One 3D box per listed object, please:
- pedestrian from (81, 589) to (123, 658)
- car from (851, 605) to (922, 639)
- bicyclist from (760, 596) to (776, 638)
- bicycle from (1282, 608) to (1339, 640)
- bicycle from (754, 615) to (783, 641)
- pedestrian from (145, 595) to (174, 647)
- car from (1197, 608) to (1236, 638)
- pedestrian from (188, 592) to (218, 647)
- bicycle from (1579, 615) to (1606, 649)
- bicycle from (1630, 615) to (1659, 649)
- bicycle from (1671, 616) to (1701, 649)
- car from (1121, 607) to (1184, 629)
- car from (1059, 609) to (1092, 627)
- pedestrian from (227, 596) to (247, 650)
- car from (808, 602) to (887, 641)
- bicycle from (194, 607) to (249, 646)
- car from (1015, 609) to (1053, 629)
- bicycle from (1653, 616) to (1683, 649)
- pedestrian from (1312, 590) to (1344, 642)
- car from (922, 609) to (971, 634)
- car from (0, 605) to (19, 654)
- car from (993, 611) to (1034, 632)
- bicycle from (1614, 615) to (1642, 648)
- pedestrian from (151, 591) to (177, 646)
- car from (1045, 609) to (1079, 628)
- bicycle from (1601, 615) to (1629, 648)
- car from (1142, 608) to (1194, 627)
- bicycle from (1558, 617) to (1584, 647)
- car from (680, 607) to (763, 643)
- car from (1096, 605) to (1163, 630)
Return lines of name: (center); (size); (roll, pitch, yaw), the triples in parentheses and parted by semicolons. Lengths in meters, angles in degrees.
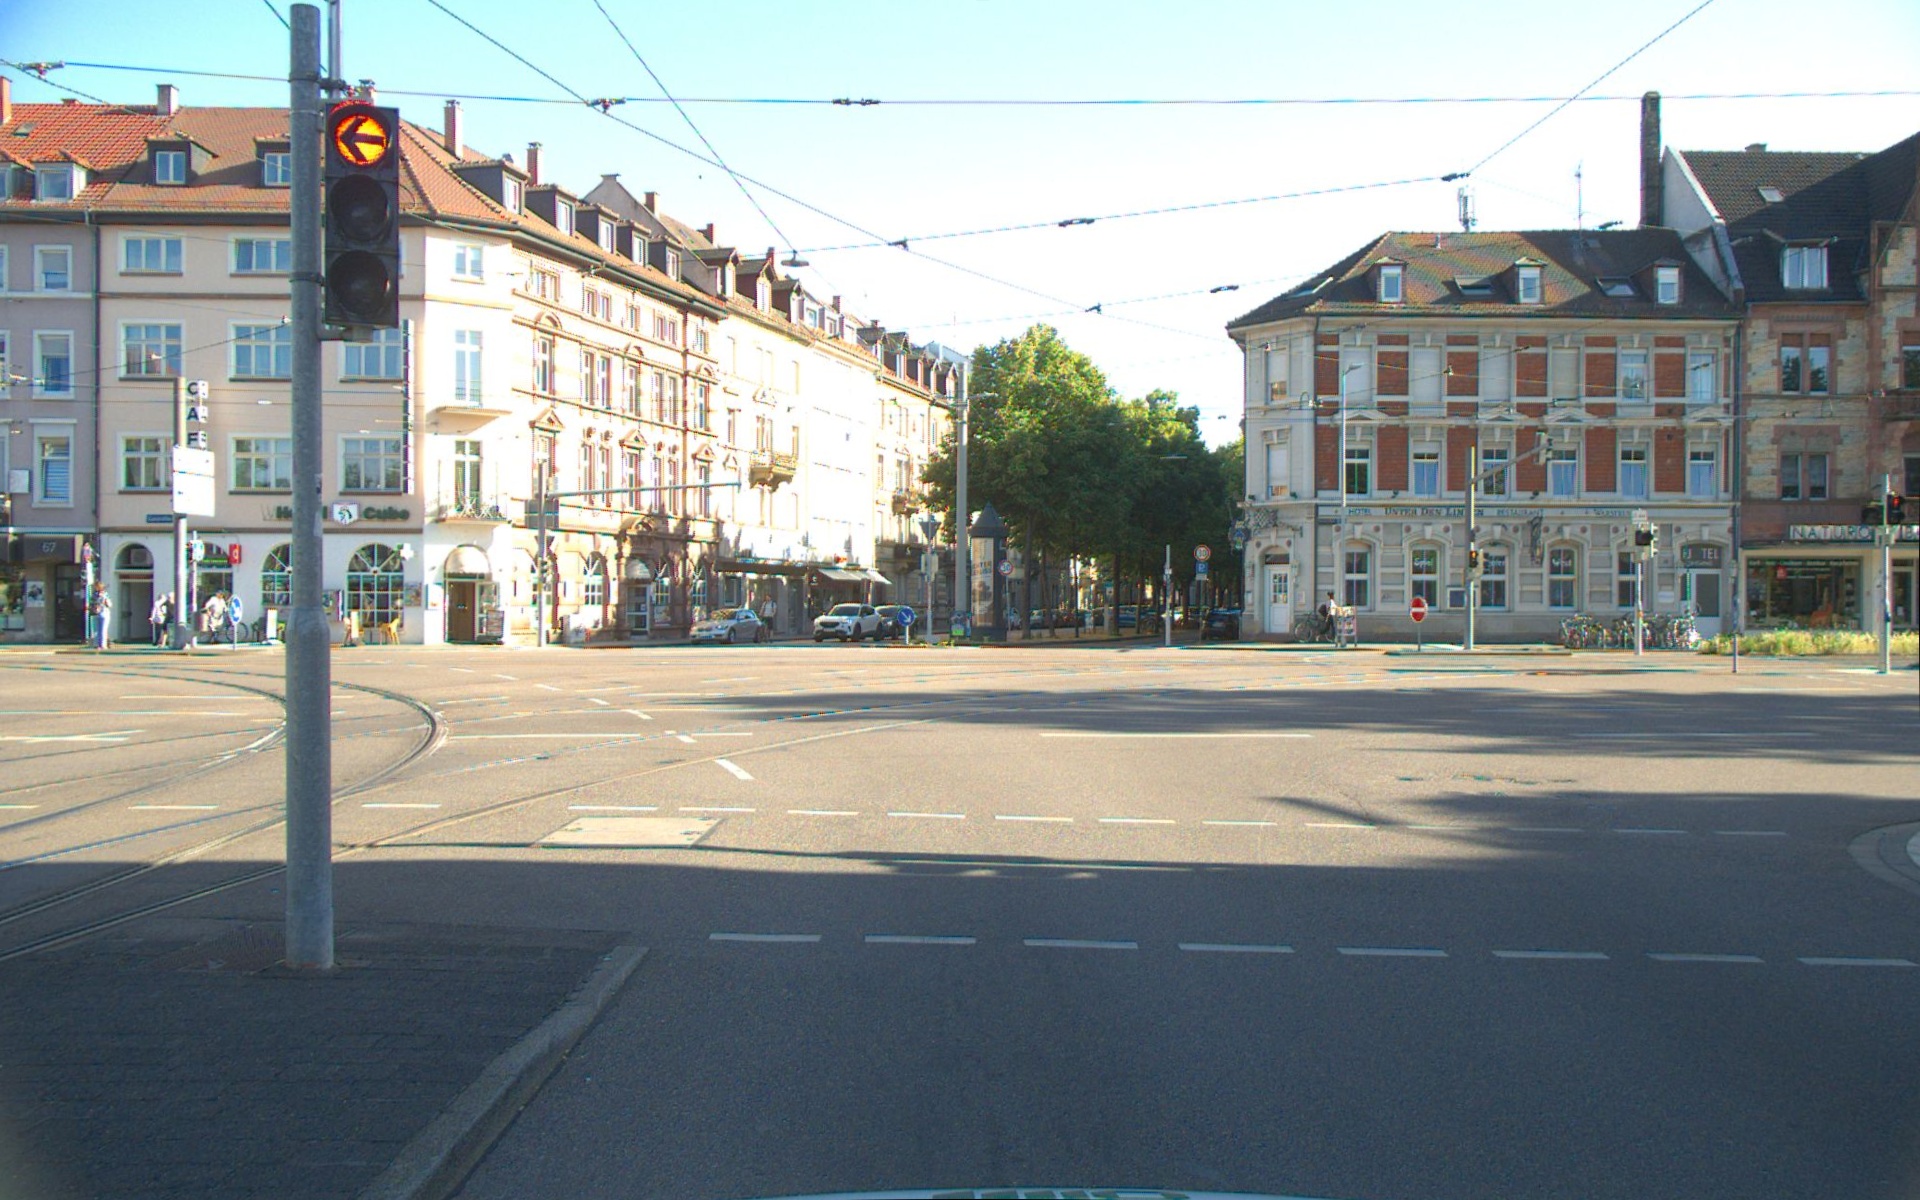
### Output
pedestrian: (-21.389, 0.573, 41.231); (0.725, 1.711, 0.628); (0, 0, -1)
car: (-3.226, 0.955, 73.576); (1.951, 1.429, 4.172); (0, 0, 15)
bicyclist: (-7.547, 0.656, 65.064); (0.479, 1.629, 0.667); (0, 0, 9)
bicycle: (12.177, 0.832, 57.511); (1.911, 1.072, 0.716); (0, 0, 9)
bicycle: (-7.556, 1.101, 65.164); (0.641, 1.018, 1.666); (1, 0, 11)
pedestrian: (-26.388, 0.694, 54.543); (0.727, 1.711, 0.626); (0, 0, -12)
car: (12.853, 1.145, 82.703); (1.717, 1.445, 4.003); (0, 0, 12)
pedestrian: (-23.738, 0.609, 51.842); (0.614, 1.711, 0.742); (0, 0, -2)
bicycle: (20.474, 1.028, 53.573); (0.476, 1.038, 1.785); (0, 0, 9)
bicycle: (22.111, 1.023, 53.478); (0.476, 1.038, 1.785); (0, 0, 9)
bicycle: (23.591, 1.050, 53.740); (0.476, 1.038, 1.785); (0, 0, 9)
car: (12.316, 1.144, 105.559); (3.902, 1.311, 1.696); (0, 0, 10)
car: (9.570, 1.482, 136.723); (1.951, 1.429, 4.172); (0, 0, 15)
pedestrian: (-17.229, 0.546, 39.421); (0.358, 1.275, 0.449); (0, 0, -12)
car: (-4.530, 0.850, 67.384); (1.951, 1.542, 4.172); (0, 0, 15)
bicycle: (-25.271, 0.908, 56.604); (1.684, 1.299, 0.385); (0, 0, -18)
car: (5.474, 1.380, 122.637); (1.951, 1.429, 4.172); (0, 0, 15)
bicycle: (22.906, 1.037, 53.558); (0.476, 1.038, 1.785); (0, 0, 9)
pedestrian: (12.583, 0.546, 56.556); (1.013, 1.741, 0.630); (1, -1, 8)
car: (-0.819, 1.319, 102.053); (1.951, 1.429, 4.172); (0, 0, 15)
car: (-32.126, 0.903, 52.316); (3.651, 1.517, 1.818); (1, 0, 2)
car: (3.815, 1.486, 116.891); (1.951, 1.429, 4.172); (0, 0, 15)
bicycle: (21.613, 1.015, 53.550); (0.476, 1.038, 1.785); (0, 0, 9)
pedestrian: (-24.951, 0.585, 51.830); (0.731, 1.711, 0.623); (0, 0, -26)
car: (8.140, 1.435, 131.505); (1.951, 1.429, 4.172); (0, 0, 15)
bicycle: (21.164, 1.007, 53.482); (0.476, 1.038, 1.785); (0, 0, 9)
car: (14.044, 1.153, 111.659); (3.360, 1.261, 1.578); (0, 0, 10)
bicycle: (19.805, 1.021, 53.650); (0.476, 0.930, 1.785); (0, 0, 9)
car: (-9.599, 0.987, 66.877); (1.951, 1.385, 3.821); (0, 0, 15)
car: (10.249, 1.041, 99.821); (3.902, 1.480, 1.683); (0, 0, 10)
